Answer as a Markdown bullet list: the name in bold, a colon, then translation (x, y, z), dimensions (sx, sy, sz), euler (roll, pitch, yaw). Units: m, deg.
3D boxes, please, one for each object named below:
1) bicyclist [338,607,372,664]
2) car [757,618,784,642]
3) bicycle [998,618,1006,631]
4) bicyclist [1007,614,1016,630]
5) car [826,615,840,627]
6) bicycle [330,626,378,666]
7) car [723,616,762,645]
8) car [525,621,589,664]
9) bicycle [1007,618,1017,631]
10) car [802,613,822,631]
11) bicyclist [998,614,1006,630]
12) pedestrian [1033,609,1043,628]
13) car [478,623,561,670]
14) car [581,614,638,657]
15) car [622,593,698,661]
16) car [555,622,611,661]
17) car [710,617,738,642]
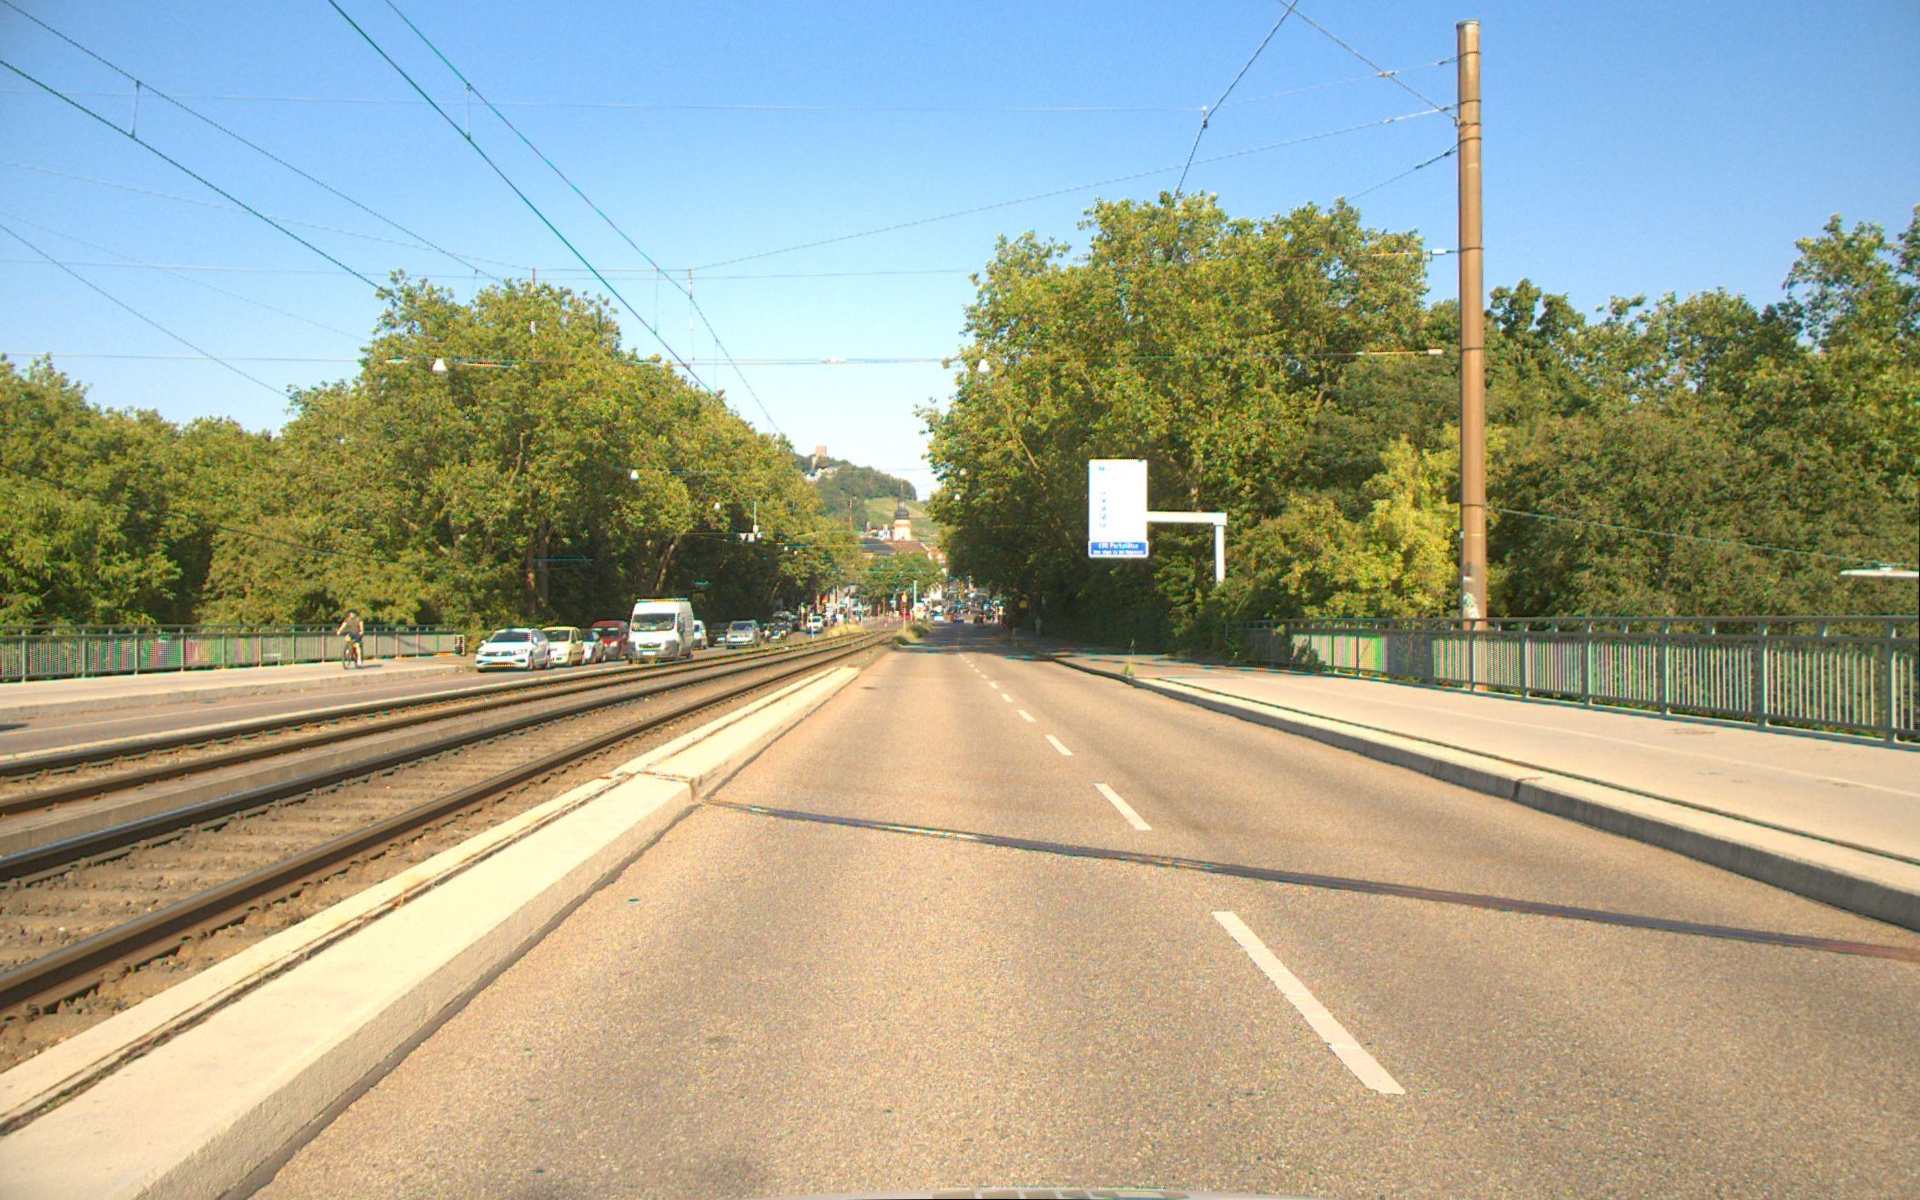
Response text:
- **bicyclist**: translation (-18.180, 1.057, 49.704), dimensions (0.666, 1.655, 0.890), euler (1, 0, -1)
- **car**: translation (-14.570, 2.299, 127.204), dimensions (1.707, 1.652, 4.392), euler (-3, 0, -3)
- **bicycle**: translation (4.731, 2.752, 186.062), dimensions (0.869, 1.344, 2.639), euler (-1, -1, 0)
- **bicyclist**: translation (5.483, 2.338, 174.932), dimensions (0.869, 1.667, 1.164), euler (-1, -1, -1)
- **car**: translation (-19.833, 3.236, 257.495), dimensions (1.953, 1.726, 4.742), euler (-1, -1, -2)
- **bicycle**: translation (-18.192, 1.378, 49.710), dimensions (0.666, 1.117, 2.099), euler (1, 0, -1)
- **car**: translation (-13.433, 1.844, 102.358), dimensions (1.835, 1.694, 4.596), euler (1, 0, -1)
- **car**: translation (-15.441, 1.618, 63.567), dimensions (1.600, 1.558, 3.789), euler (-1, 0, -1)
- **bicycle**: translation (5.495, 2.602, 174.687), dimensions (0.869, 1.344, 2.639), euler (-1, -1, -1)
- **car**: translation (-16.918, 2.529, 189.248), dimensions (1.954, 1.876, 5.298), euler (-4, 0, -3)
- **bicyclist**: translation (4.728, 2.492, 186.060), dimensions (0.868, 1.806, 1.222), euler (-1, -1, 0)
- **pedestrian**: translation (6.362, 1.490, 134.345), dimensions (0.787, 1.573, 0.814), euler (-1, -1, 3)
- **car**: translation (-15.305, 1.578, 57.704), dimensions (1.706, 1.489, 4.954), euler (0, 0, -2)
- **car**: translation (-15.711, 1.570, 74.321), dimensions (1.706, 1.785, 4.682), euler (-1, 0, -2)
- **car**: translation (-12.221, 1.071, 67.679), dimensions (2.044, 2.638, 6.040), euler (0, 0, -1)
- **car**: translation (-15.670, 1.703, 68.940), dimensions (1.601, 1.476, 3.999), euler (-1, 0, -3)
- **car**: translation (-16.769, 2.082, 117.607), dimensions (1.708, 1.665, 3.995), euler (-1, 0, -6)
